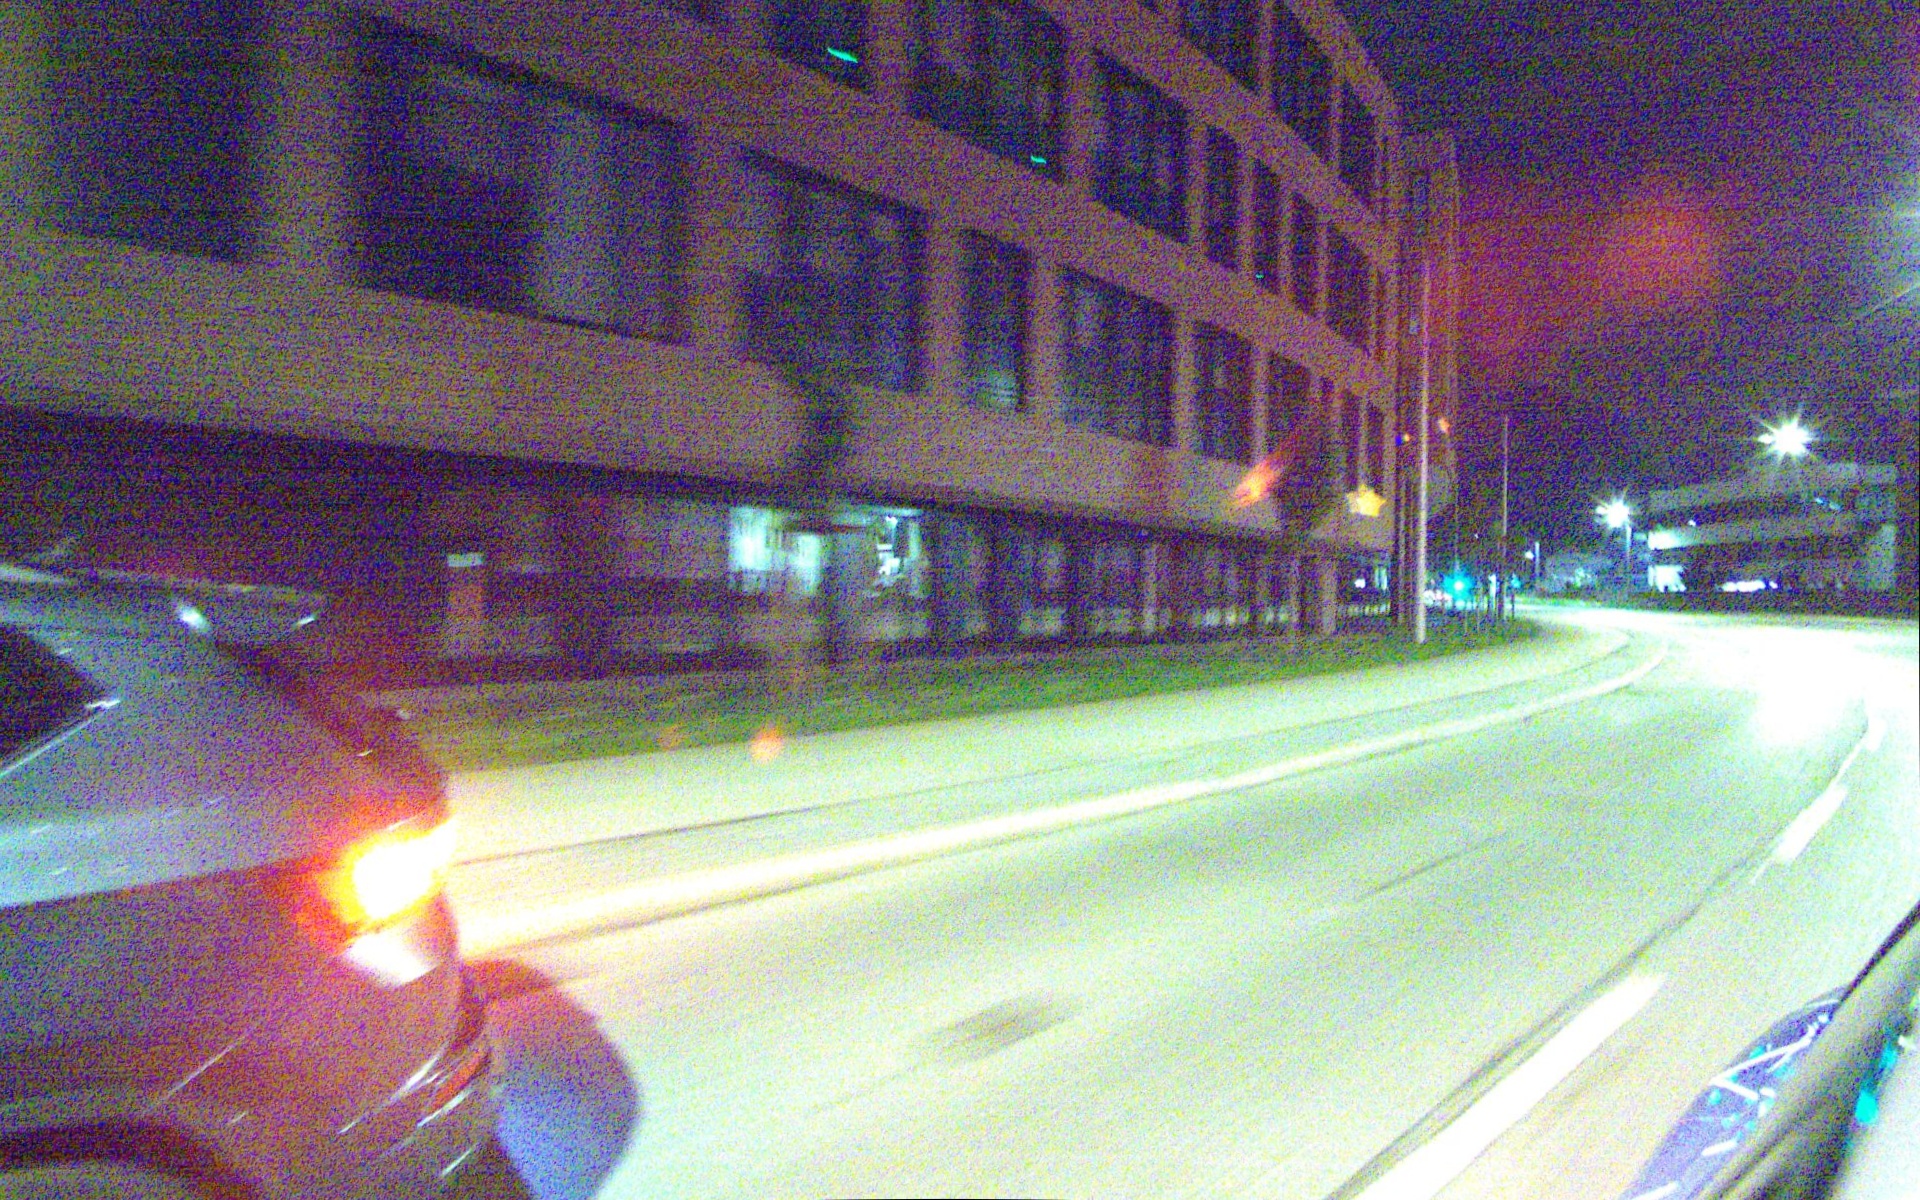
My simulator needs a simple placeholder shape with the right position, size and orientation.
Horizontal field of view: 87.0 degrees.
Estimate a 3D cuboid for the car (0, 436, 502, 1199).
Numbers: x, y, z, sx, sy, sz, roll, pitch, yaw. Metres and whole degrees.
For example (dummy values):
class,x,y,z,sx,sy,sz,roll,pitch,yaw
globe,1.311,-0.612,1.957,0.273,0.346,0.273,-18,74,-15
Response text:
class,x,y,z,sx,sy,sz,roll,pitch,yaw
car,-2.939,0.612,1.118,4.154,1.631,1.673,-1,0,-40
